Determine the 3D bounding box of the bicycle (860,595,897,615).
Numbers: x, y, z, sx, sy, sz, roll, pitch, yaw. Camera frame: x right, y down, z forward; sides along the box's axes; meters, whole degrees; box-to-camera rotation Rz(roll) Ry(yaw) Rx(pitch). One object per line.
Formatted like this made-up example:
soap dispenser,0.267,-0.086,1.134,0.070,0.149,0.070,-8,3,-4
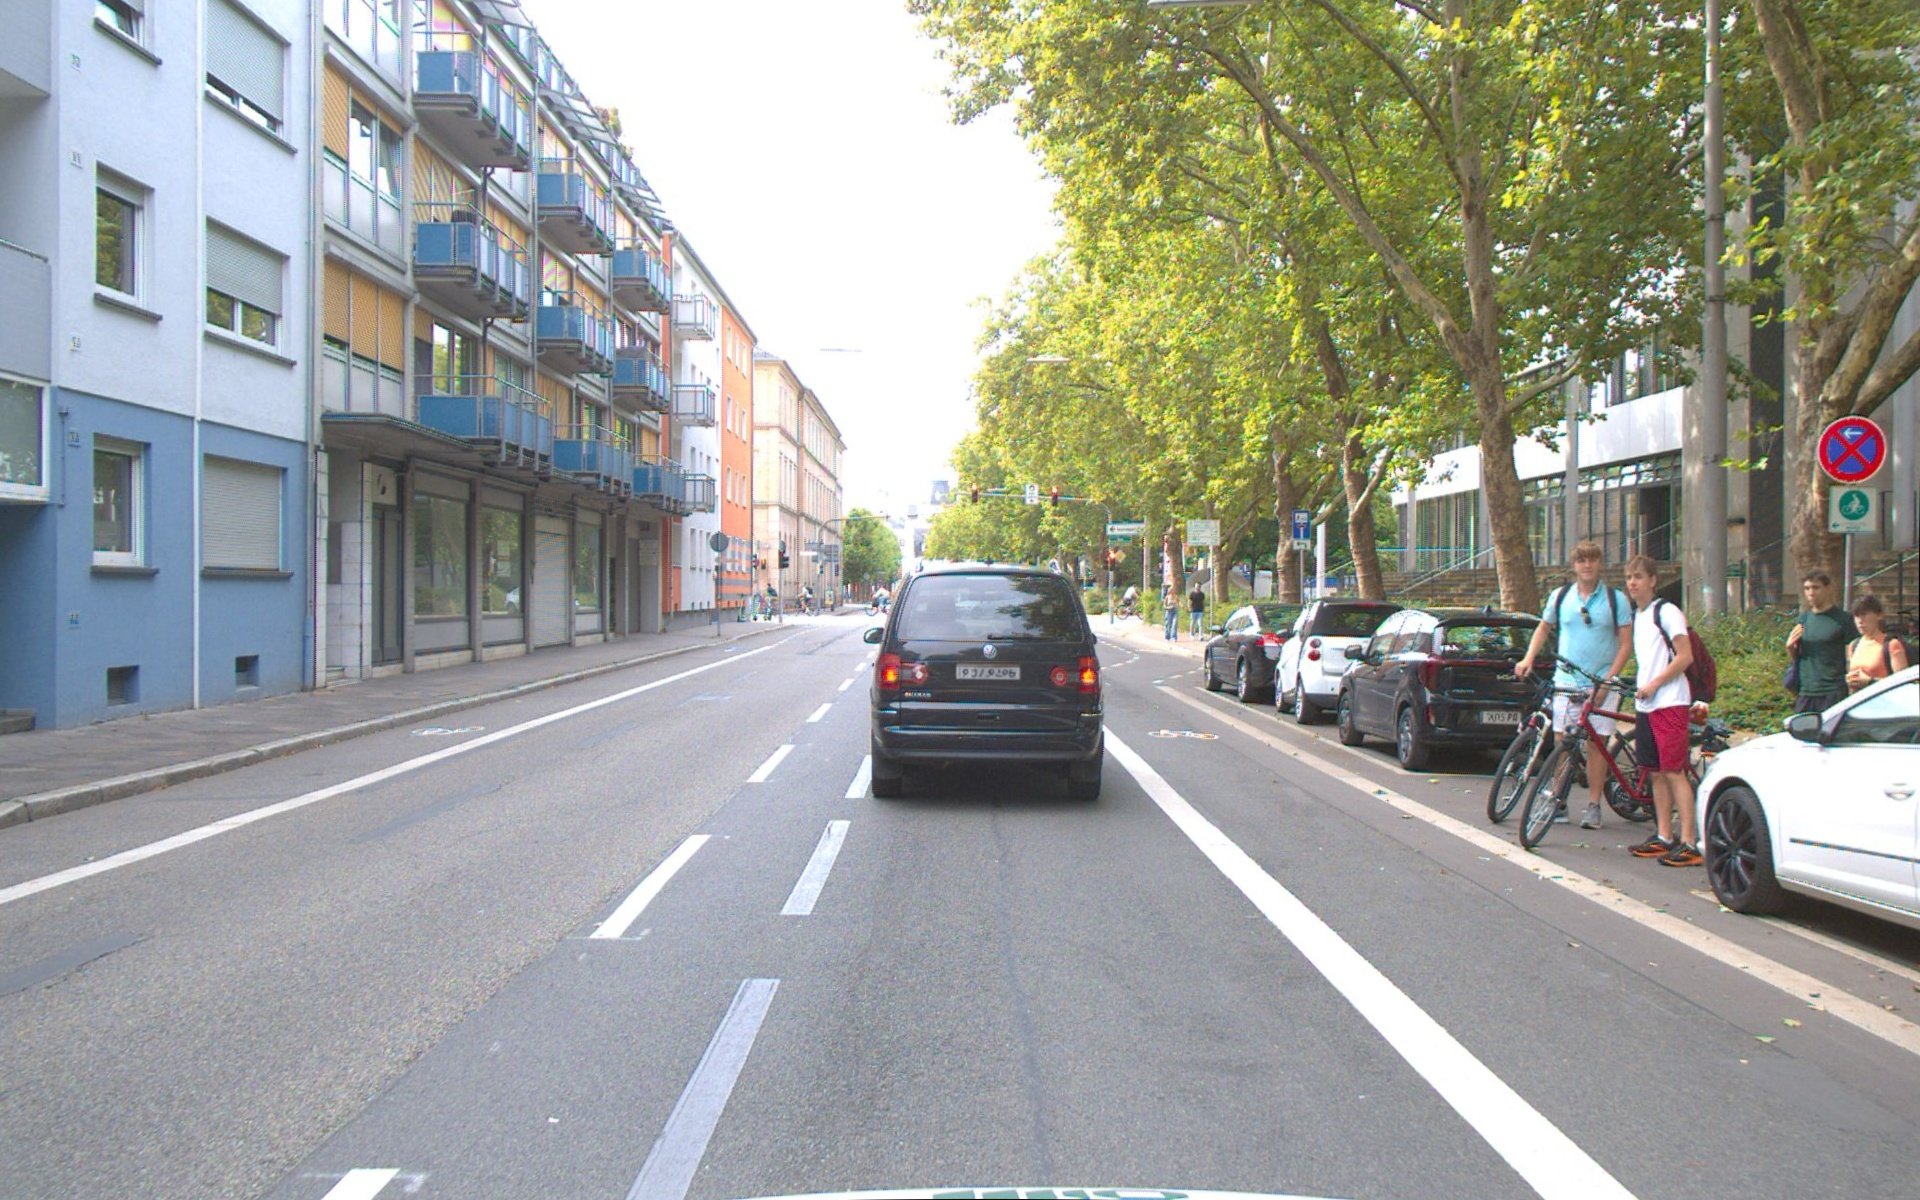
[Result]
bicycle,-4.400,0.258,89.230,1.891,1.046,0.581,1,0,-14

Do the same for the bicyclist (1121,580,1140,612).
bicyclist,8.532,-0.186,82.848,0.839,1.594,0.576,1,0,-9

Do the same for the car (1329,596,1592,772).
car,4.883,0.747,16.623,1.497,1.528,3.660,2,0,0

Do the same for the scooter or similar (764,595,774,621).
scooter or similar,-8.706,0.378,75.321,0.370,1.164,1.141,0,-1,-4

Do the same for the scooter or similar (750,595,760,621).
scooter or similar,-9.262,0.354,74.862,0.370,1.167,1.141,0,-1,-4

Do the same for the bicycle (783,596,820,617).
bicycle,-8.368,0.330,87.455,1.890,1.046,0.582,1,0,-11

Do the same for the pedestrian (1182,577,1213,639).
pedestrian,7.088,0.241,49.409,0.700,1.831,1.033,-2,0,-2

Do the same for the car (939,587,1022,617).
car,1.021,0.097,84.161,4.009,1.452,1.760,-1,0,-8

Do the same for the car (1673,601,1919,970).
car,4.909,0.828,6.955,1.647,1.542,4.542,3,0,-3

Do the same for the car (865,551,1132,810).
car,0.222,0.537,13.701,1.836,1.775,4.572,0,0,-1

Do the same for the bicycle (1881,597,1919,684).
bicycle,13.609,0.522,22.264,2.036,1.137,0.673,-1,0,-1

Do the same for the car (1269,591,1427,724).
car,4.969,0.691,21.453,1.503,1.570,2.600,2,0,2

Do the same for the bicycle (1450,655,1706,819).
bicycle,4.482,0.985,12.016,1.704,1.125,0.551,1,0,-12

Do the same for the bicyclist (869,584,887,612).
bicyclist,-4.427,-0.106,89.225,0.898,1.491,0.568,1,0,-13

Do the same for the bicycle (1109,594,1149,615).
bicycle,8.471,0.224,82.827,1.889,1.046,0.582,1,0,-9

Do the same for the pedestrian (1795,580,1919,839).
pedestrian,6.169,0.720,11.162,0.706,1.687,0.655,1,0,-1

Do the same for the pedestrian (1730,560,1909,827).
pedestrian,6.183,0.650,11.940,0.853,1.848,0.780,1,0,-1

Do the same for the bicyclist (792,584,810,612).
bicyclist,-8.409,-0.110,87.446,0.898,1.491,0.568,1,0,-11

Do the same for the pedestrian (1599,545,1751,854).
pedestrian,4.512,0.607,10.471,0.511,1.877,0.742,1,0,-15

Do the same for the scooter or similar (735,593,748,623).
scooter or similar,-9.060,0.336,68.647,0.370,1.204,1.389,0,-1,0

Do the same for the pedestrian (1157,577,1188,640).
pedestrian,6.339,0.250,49.358,0.696,1.814,1.033,-2,0,-2

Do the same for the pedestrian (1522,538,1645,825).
pedestrian,4.416,0.560,11.744,0.466,1.968,0.743,1,0,-11

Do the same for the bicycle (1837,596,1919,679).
bicycle,13.627,0.524,23.601,1.876,1.137,0.673,-1,0,-1

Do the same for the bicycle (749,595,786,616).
bicycle,-10.014,0.291,86.071,1.890,1.046,0.582,1,0,-11

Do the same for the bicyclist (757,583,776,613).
bicyclist,-10.077,-0.107,86.055,0.898,1.491,0.568,1,0,-11

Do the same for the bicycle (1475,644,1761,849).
bicycle,4.260,0.923,10.707,1.761,1.238,0.551,1,0,-18

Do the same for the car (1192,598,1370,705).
car,4.855,0.727,25.599,1.664,1.450,4.420,2,0,-3
